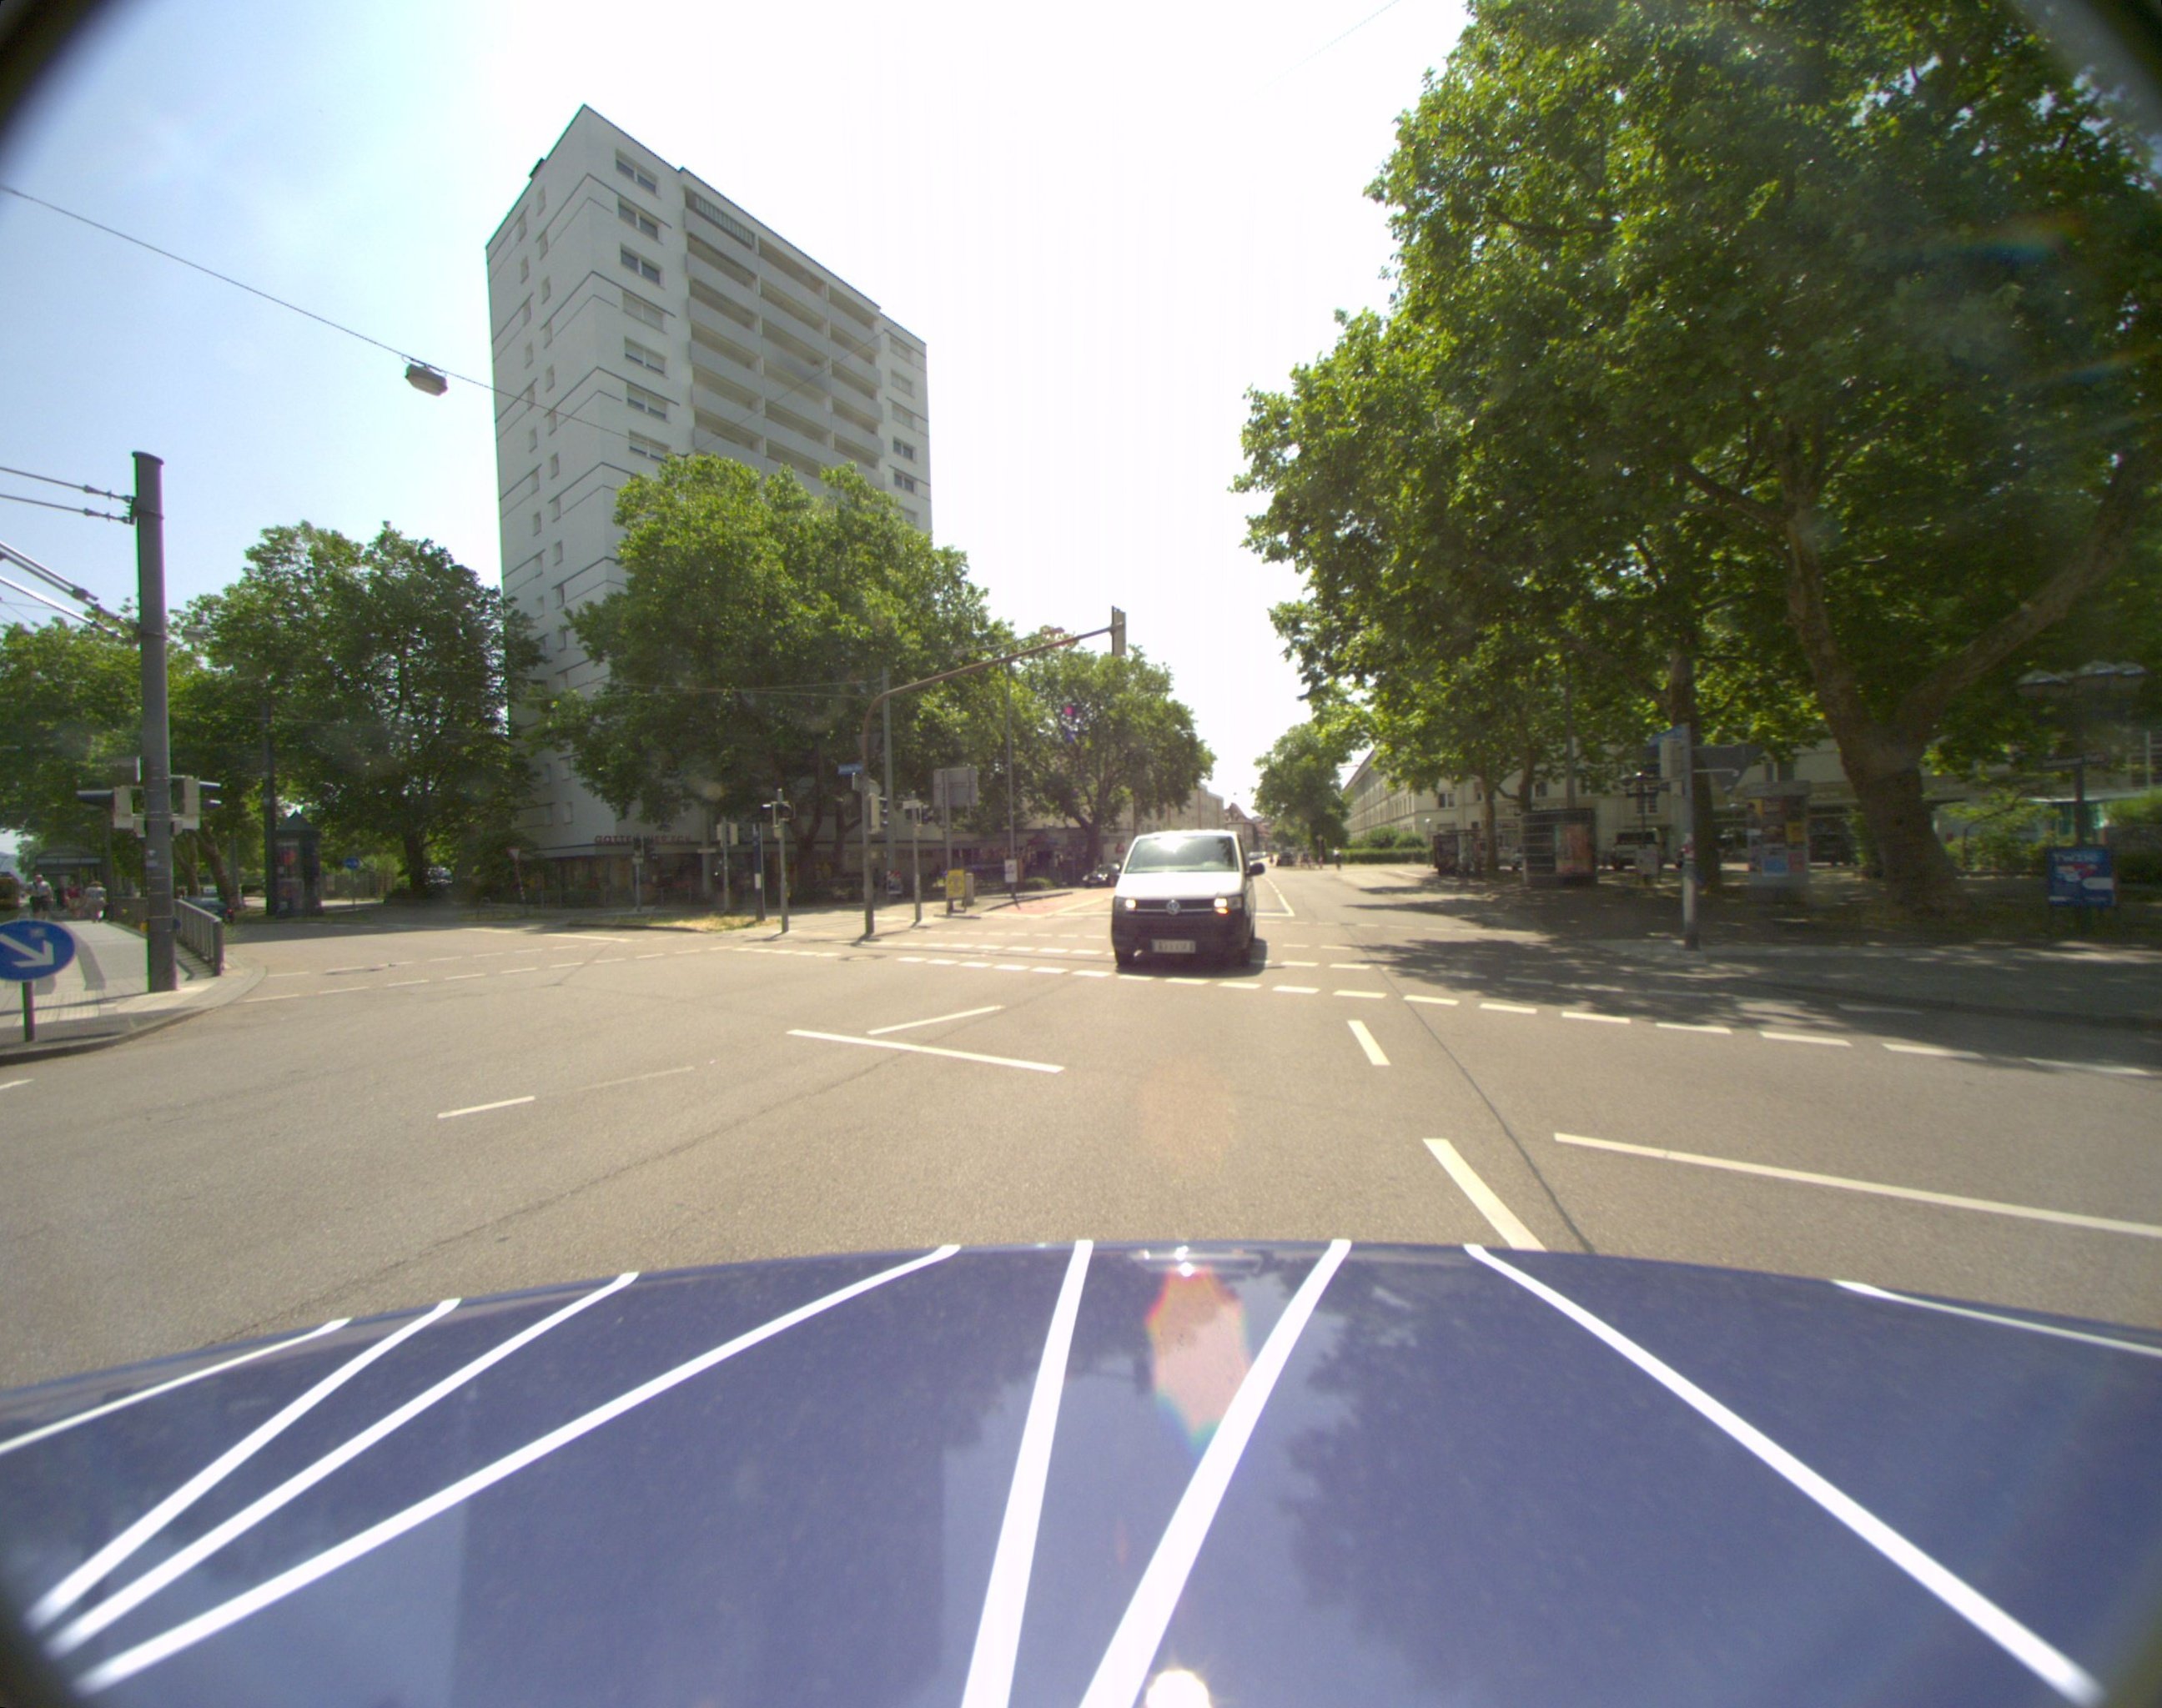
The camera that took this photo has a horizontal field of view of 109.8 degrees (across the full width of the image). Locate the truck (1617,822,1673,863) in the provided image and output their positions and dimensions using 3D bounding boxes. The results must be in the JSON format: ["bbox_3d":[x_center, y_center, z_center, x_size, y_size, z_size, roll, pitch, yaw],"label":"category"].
[{"bbox_3d":[31.352,-0.649,42.198,1.960,2.110,4.381,-1,1,43],"label":"truck"}]

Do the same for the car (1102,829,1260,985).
[{"bbox_3d":[1.815,0.700,12.070,1.850,1.942,4.949,-2,-1,14],"label":"car"}]

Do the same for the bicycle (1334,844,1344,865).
[{"bbox_3d":[19.901,0.062,58.619,0.595,1.546,1.845,-2,1,21],"label":"bicycle"}]

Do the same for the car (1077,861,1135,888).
[{"bbox_3d":[1.530,1.199,44.817,1.798,1.338,3.800,-2,1,30],"label":"car"}]

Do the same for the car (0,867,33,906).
[{"bbox_3d":[-99.004,3.020,70.160,12.001,3.319,2.280,-2,1,37],"label":"car"}]

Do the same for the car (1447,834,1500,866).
[{"bbox_3d":[24.351,-0.279,47.121,1.994,1.888,4.008,-2,0,41],"label":"car"}]

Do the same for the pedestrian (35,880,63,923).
[{"bbox_3d":[-40.349,1.845,29.710,0.678,1.597,0.555,-1,2,35],"label":"pedestrian"}]

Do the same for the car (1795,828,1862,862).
[{"bbox_3d":[37.350,-0.469,38.037,1.929,1.591,4.008,-1,0,38],"label":"car"}]

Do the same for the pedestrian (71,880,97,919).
[{"bbox_3d":[-40.995,1.853,31.245,0.513,1.571,0.548,-1,2,35],"label":"pedestrian"}]

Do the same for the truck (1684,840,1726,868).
[{"bbox_3d":[33.369,-0.013,40.681,1.465,1.369,2.987,-1,1,35],"label":"truck"}]

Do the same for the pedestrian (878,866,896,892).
[{"bbox_3d":[-10.436,1.354,40.921,0.592,1.357,0.641,-2,1,31],"label":"pedestrian"}]

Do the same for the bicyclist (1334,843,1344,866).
[{"bbox_3d":[19.973,0.031,58.803,0.703,1.725,0.788,-2,1,22],"label":"bicyclist"}]

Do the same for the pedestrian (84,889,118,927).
[{"bbox_3d":[-36.605,2.002,28.384,0.630,1.341,0.681,-1,2,35],"label":"pedestrian"}]

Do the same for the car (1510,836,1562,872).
[{"bbox_3d":[27.221,-0.039,45.427,1.994,2.002,4.008,-1,1,41],"label":"car"}]

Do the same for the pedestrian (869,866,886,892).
[{"bbox_3d":[-11.073,1.372,41.363,0.592,1.357,0.641,-2,1,31],"label":"pedestrian"}]
